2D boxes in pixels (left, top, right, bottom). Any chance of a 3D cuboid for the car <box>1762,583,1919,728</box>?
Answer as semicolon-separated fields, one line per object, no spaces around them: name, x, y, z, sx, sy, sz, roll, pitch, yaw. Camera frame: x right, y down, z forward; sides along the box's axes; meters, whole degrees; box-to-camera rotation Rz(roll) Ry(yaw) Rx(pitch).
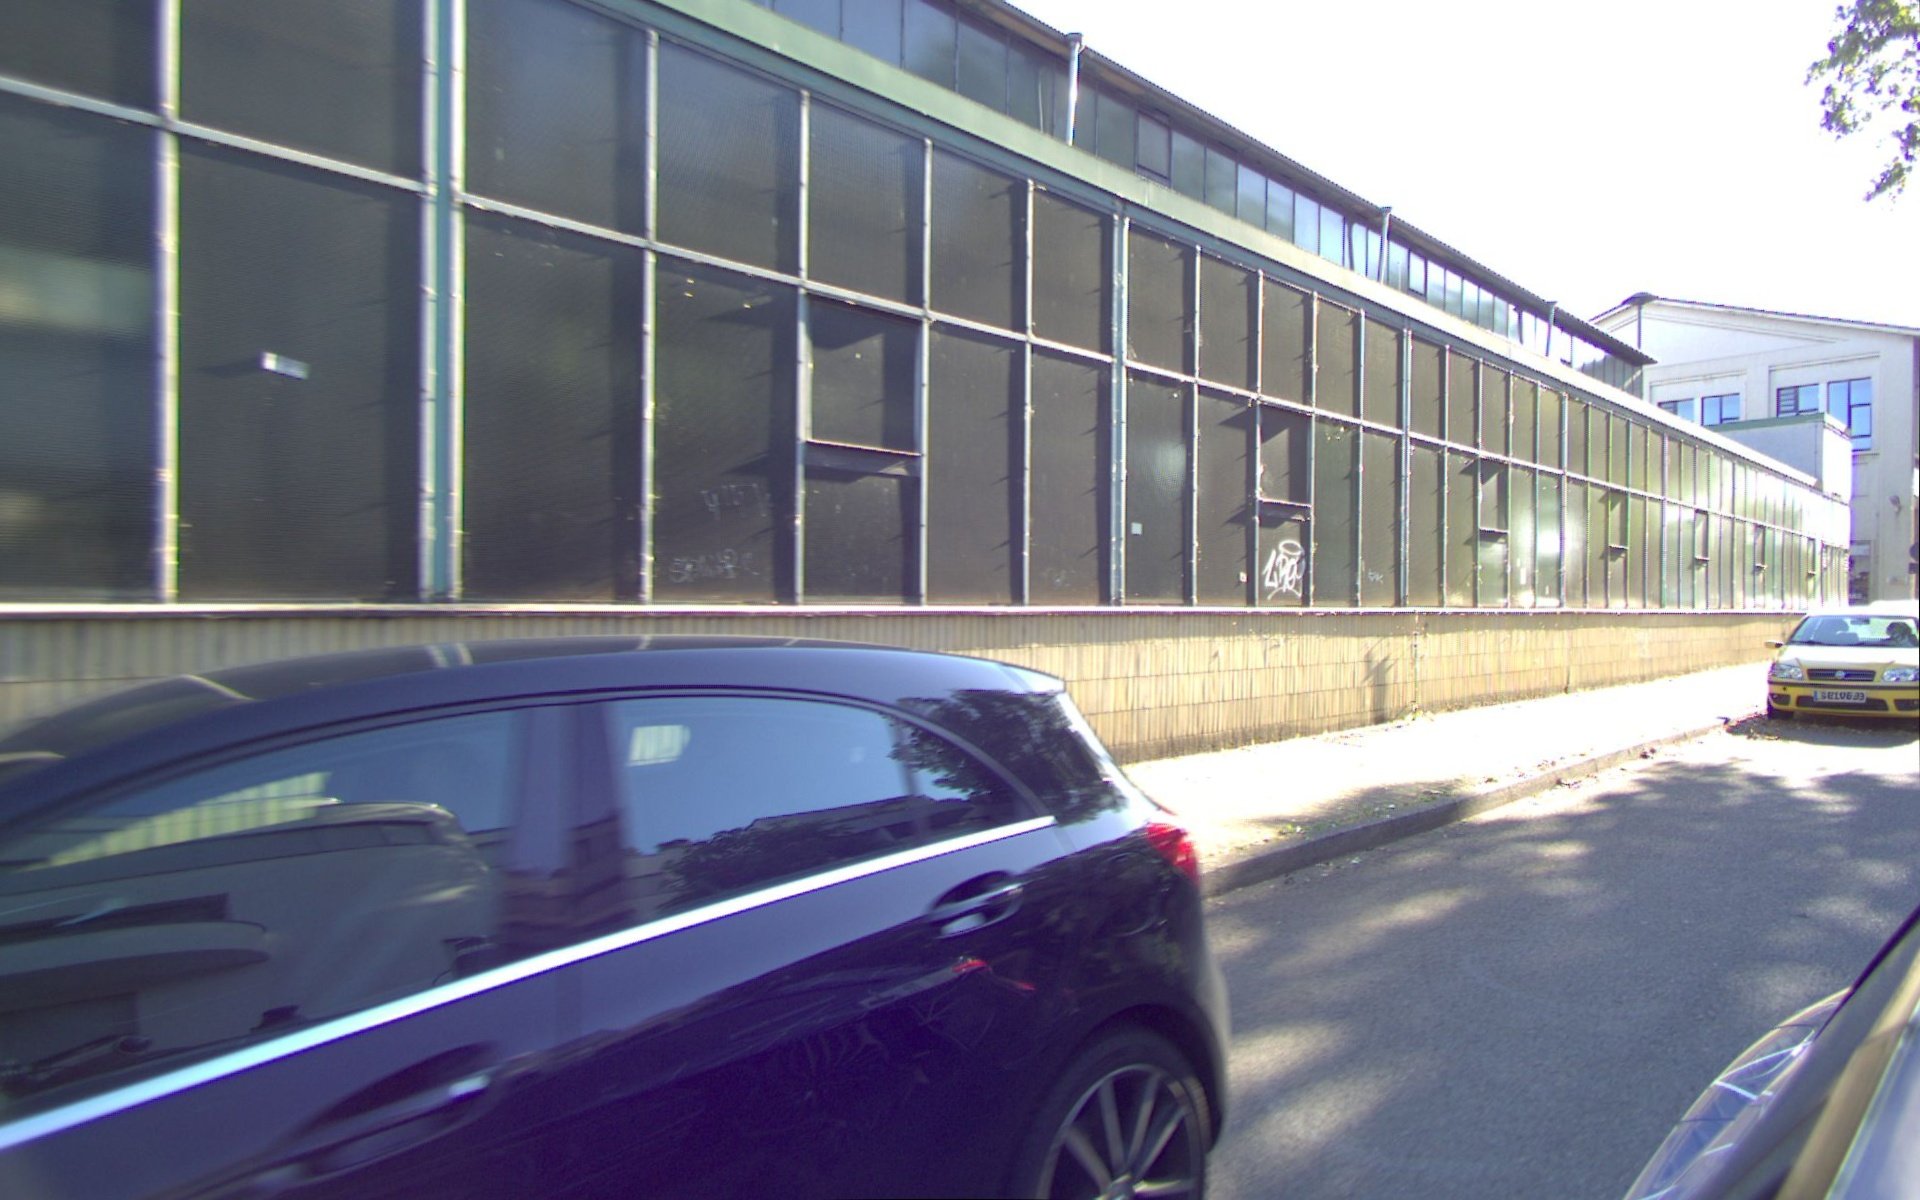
car;12.051;0.618;13.305;3.934;1.655;1.752;-1;0;-43

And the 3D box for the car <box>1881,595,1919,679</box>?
car;19.444;0.659;19.654;4.452;1.512;1.902;-1;0;-43

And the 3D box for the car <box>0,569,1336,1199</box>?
car;-1.451;0.753;1.526;4.540;1.510;1.753;-1;-1;-40

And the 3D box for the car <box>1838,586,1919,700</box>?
car;15.488;0.601;16.042;4.234;1.655;1.753;-1;0;-41
